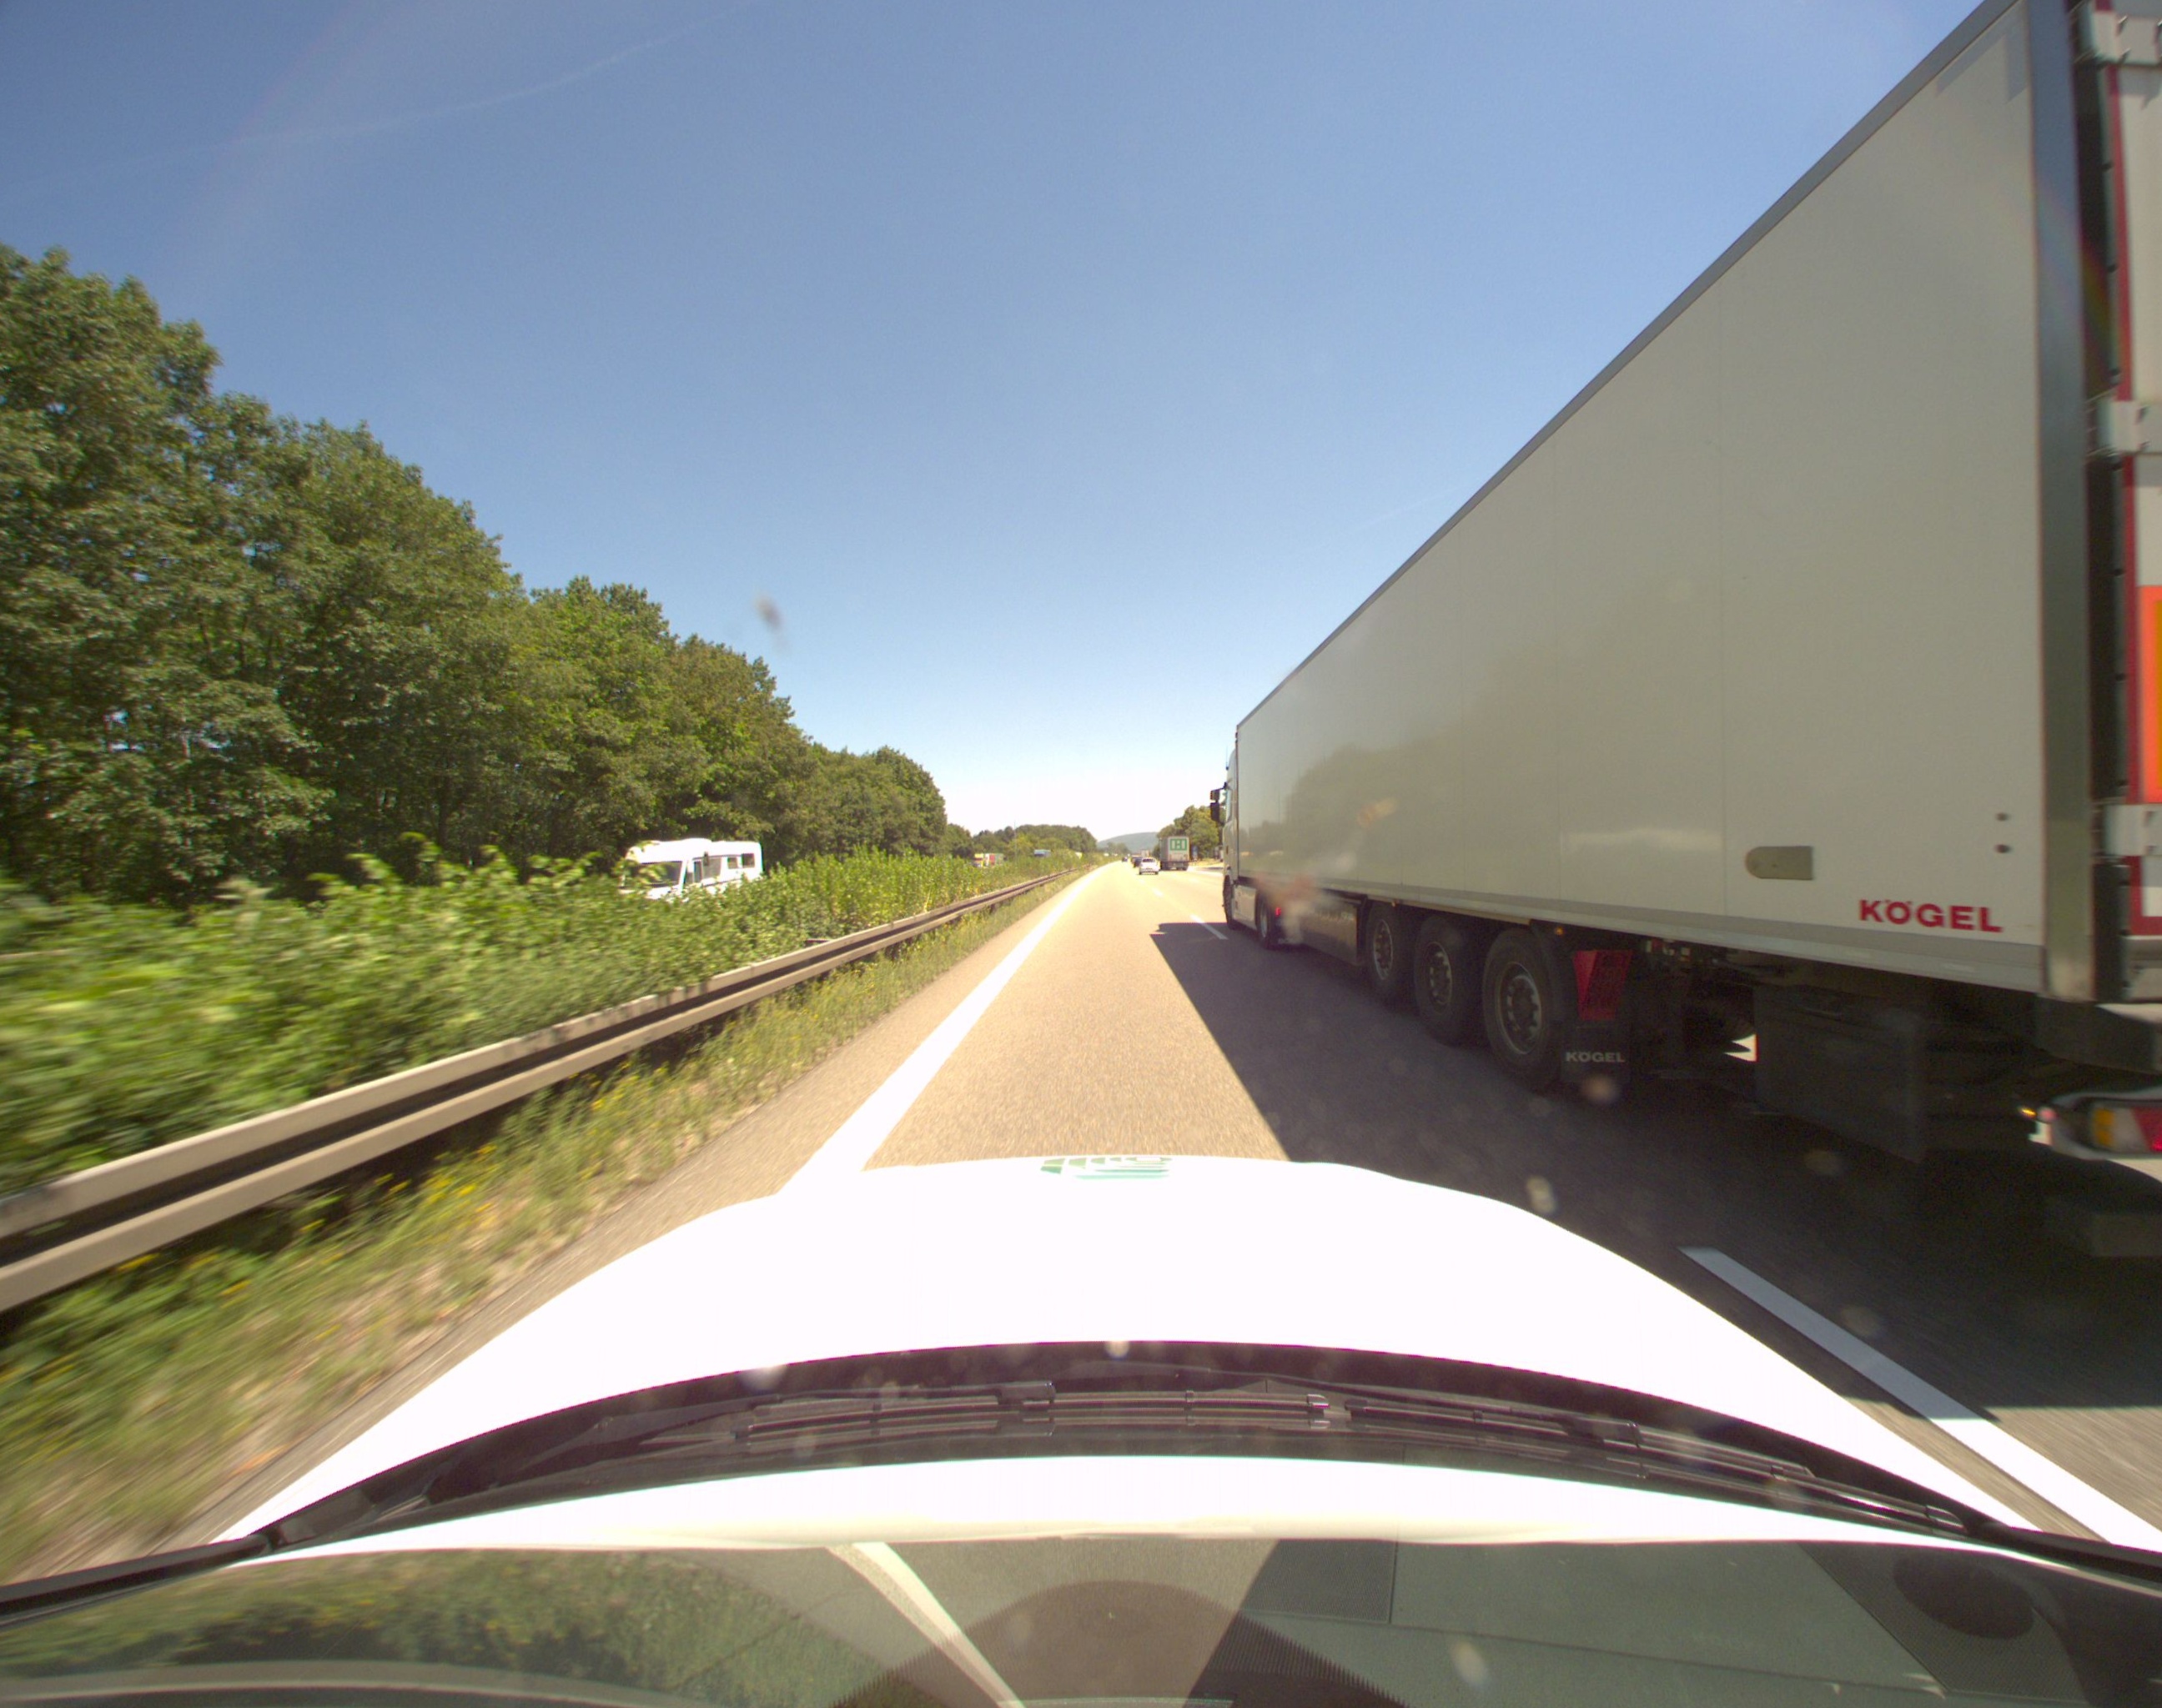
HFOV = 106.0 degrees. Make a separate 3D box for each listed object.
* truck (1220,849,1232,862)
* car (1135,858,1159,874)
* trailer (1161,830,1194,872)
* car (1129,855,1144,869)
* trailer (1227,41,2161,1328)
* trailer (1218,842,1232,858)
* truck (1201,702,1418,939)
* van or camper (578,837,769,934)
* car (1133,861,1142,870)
[{"bbox_3d":[34.602,0.365,194.515,2.455,2.946,7.671,-1,0,6],"label":"truck"},{"bbox_3d":[5.993,1.091,74.297,1.807,1.405,3.314,-2,0,-3],"label":"car"},{"bbox_3d":[11.315,-0.309,96.642,3.168,4.627,12.061,-2,0,3],"label":"trailer"},{"bbox_3d":[8.208,1.180,119.937,1.887,1.892,4.007,-2,-1,7],"label":"car"},{"bbox_3d":[4.159,-0.580,8.800,3.211,4.143,12.356,-2,0,2],"label":"trailer"},{"bbox_3d":[37.591,-0.994,212.439,3.162,3.935,11.590,-1,0,12],"label":"trailer"},{"bbox_3d":[4.415,-0.596,16.826,3.217,4.157,4.561,-2,0,1],"label":"truck"},{"bbox_3d":[-15.122,1.033,31.261,2.411,3.112,9.090,-2,0,2],"label":"van or camper"},{"bbox_3d":[13.076,2.577,188.772,1.875,2.013,4.002,-2,0,2],"label":"car"}]
